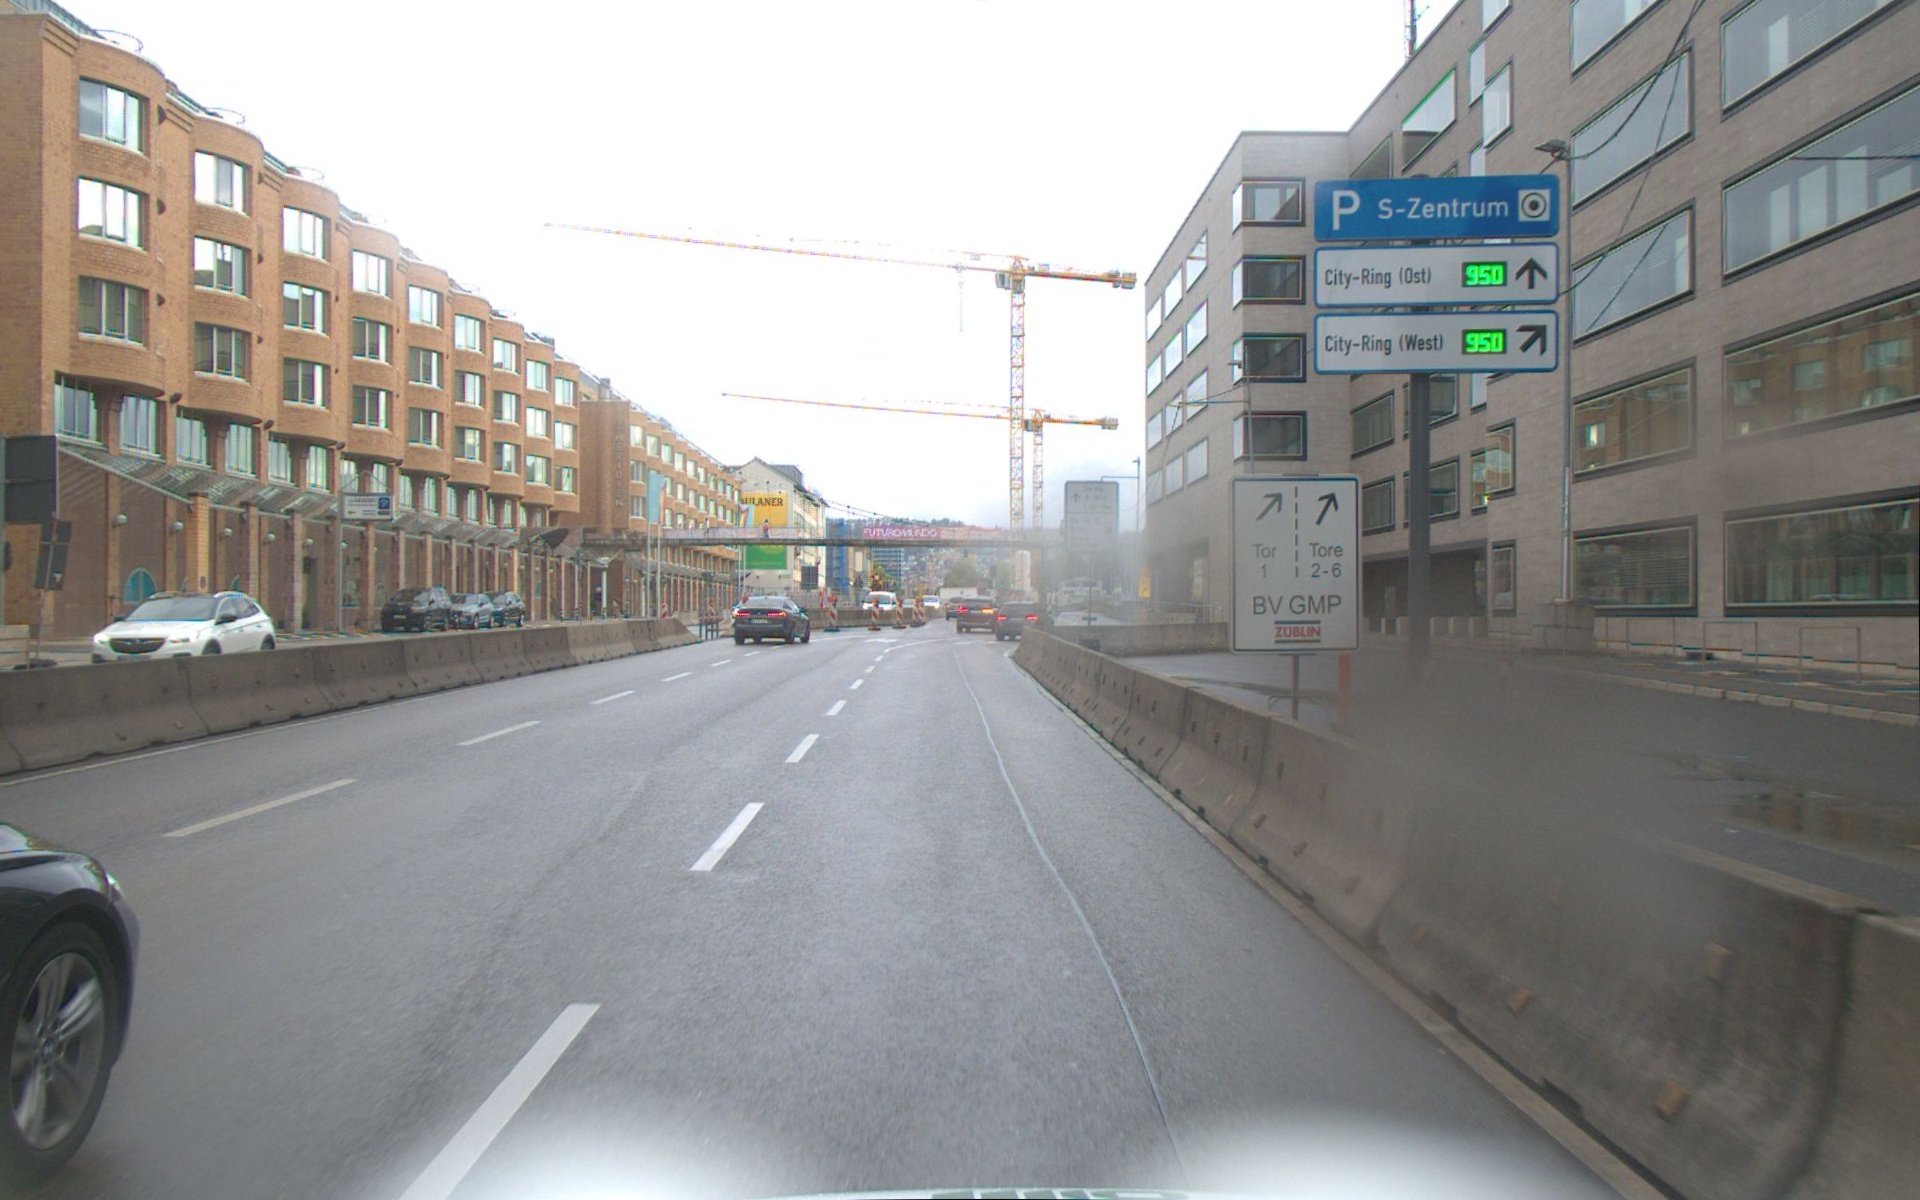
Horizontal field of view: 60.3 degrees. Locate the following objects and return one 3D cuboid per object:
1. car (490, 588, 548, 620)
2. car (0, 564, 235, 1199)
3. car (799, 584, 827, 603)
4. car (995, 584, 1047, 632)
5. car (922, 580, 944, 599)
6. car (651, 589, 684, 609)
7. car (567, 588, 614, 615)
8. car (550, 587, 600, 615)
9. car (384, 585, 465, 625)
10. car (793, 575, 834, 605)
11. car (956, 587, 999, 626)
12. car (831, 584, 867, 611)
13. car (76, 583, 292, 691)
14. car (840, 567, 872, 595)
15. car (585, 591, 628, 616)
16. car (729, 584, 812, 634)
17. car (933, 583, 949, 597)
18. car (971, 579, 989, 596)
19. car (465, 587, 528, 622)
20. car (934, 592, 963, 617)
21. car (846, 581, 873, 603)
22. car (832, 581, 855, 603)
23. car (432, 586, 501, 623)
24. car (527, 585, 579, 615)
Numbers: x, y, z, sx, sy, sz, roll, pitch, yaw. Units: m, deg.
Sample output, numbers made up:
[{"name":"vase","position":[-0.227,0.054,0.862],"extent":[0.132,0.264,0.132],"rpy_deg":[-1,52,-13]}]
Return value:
[{"name":"car","position":[-23.321,0.220,87.605],"extent":[1.953,1.648,4.317],"rpy_deg":[-1,0,-1]},{"name":"car","position":[-2.964,0.636,2.529],"extent":[1.755,1.451,4.612],"rpy_deg":[1,0,-1]},{"name":"car","position":[-12.675,-0.560,143.155],"extent":[1.952,1.648,4.763],"rpy_deg":[-1,0,0]},{"name":"car","position":[2.286,0.286,62.793],"extent":[1.861,1.723,4.000],"rpy_deg":[-1,0,1]},{"name":"car","position":[-2.523,-0.968,157.628],"extent":[1.860,1.723,4.001],"rpy_deg":[-1,0,2]},{"name":"car","position":[-24.487,-0.102,138.676],"extent":[1.953,1.648,4.689],"rpy_deg":[-1,0,0]},{"name":"car","position":[-23.689,0.098,106.131],"extent":[1.953,1.648,4.689],"rpy_deg":[-1,0,0]},{"name":"car","position":[-23.316,0.064,100.270],"extent":[1.953,1.648,4.689],"rpy_deg":[-1,0,0]},{"name":"car","position":[-22.879,0.210,70.880],"extent":[1.953,1.648,4.762],"rpy_deg":[-1,0,0]},{"name":"car","position":[-8.428,-0.570,95.434],"extent":[1.953,1.648,4.762],"rpy_deg":[-1,0,0]},{"name":"car","position":[0.849,0.302,76.585],"extent":[1.860,1.723,4.001],"rpy_deg":[-1,0,2]},{"name":"car","position":[-6.984,-0.152,104.405],"extent":[1.953,1.648,4.762],"rpy_deg":[-1,0,0]},{"name":"car","position":[-13.415,0.578,28.894],"extent":[1.783,1.647,4.191],"rpy_deg":[-1,2,0]},{"name":"car","position":[-7.329,-1.312,117.090],"extent":[1.953,1.858,4.762],"rpy_deg":[-1,0,0]},{"name":"car","position":[-23.977,0.235,112.261],"extent":[1.953,1.648,4.689],"rpy_deg":[-1,0,0]},{"name":"car","position":[-5.790,0.276,51.007],"extent":[1.753,1.451,4.387],"rpy_deg":[-1,0,4]},{"name":"car","position":[-2.383,-1.266,207.525],"extent":[1.860,1.723,4.001],"rpy_deg":[-1,0,2]},{"name":"car","position":[2.167,-1.335,177.006],"extent":[1.860,1.723,4.001],"rpy_deg":[-1,0,2]},{"name":"car","position":[-23.224,0.217,83.044],"extent":[1.953,1.648,4.317],"rpy_deg":[-1,0,-1]},{"name":"car","position":[-0.820,0.329,117.863],"extent":[1.860,1.723,4.001],"rpy_deg":[-1,0,2]},{"name":"car","position":[-7.919,-0.594,130.271],"extent":[1.953,1.648,4.761],"rpy_deg":[-1,0,-2]},{"name":"car","position":[-11.291,-0.747,160.347],"extent":[1.952,2.049,4.000],"rpy_deg":[-1,0,0]},{"name":"car","position":[-23.282,0.217,78.172],"extent":[1.953,1.648,4.317],"rpy_deg":[-1,0,-1]},{"name":"car","position":[-23.333,0.017,95.000],"extent":[1.953,1.648,4.317],"rpy_deg":[-1,0,-1]}]
